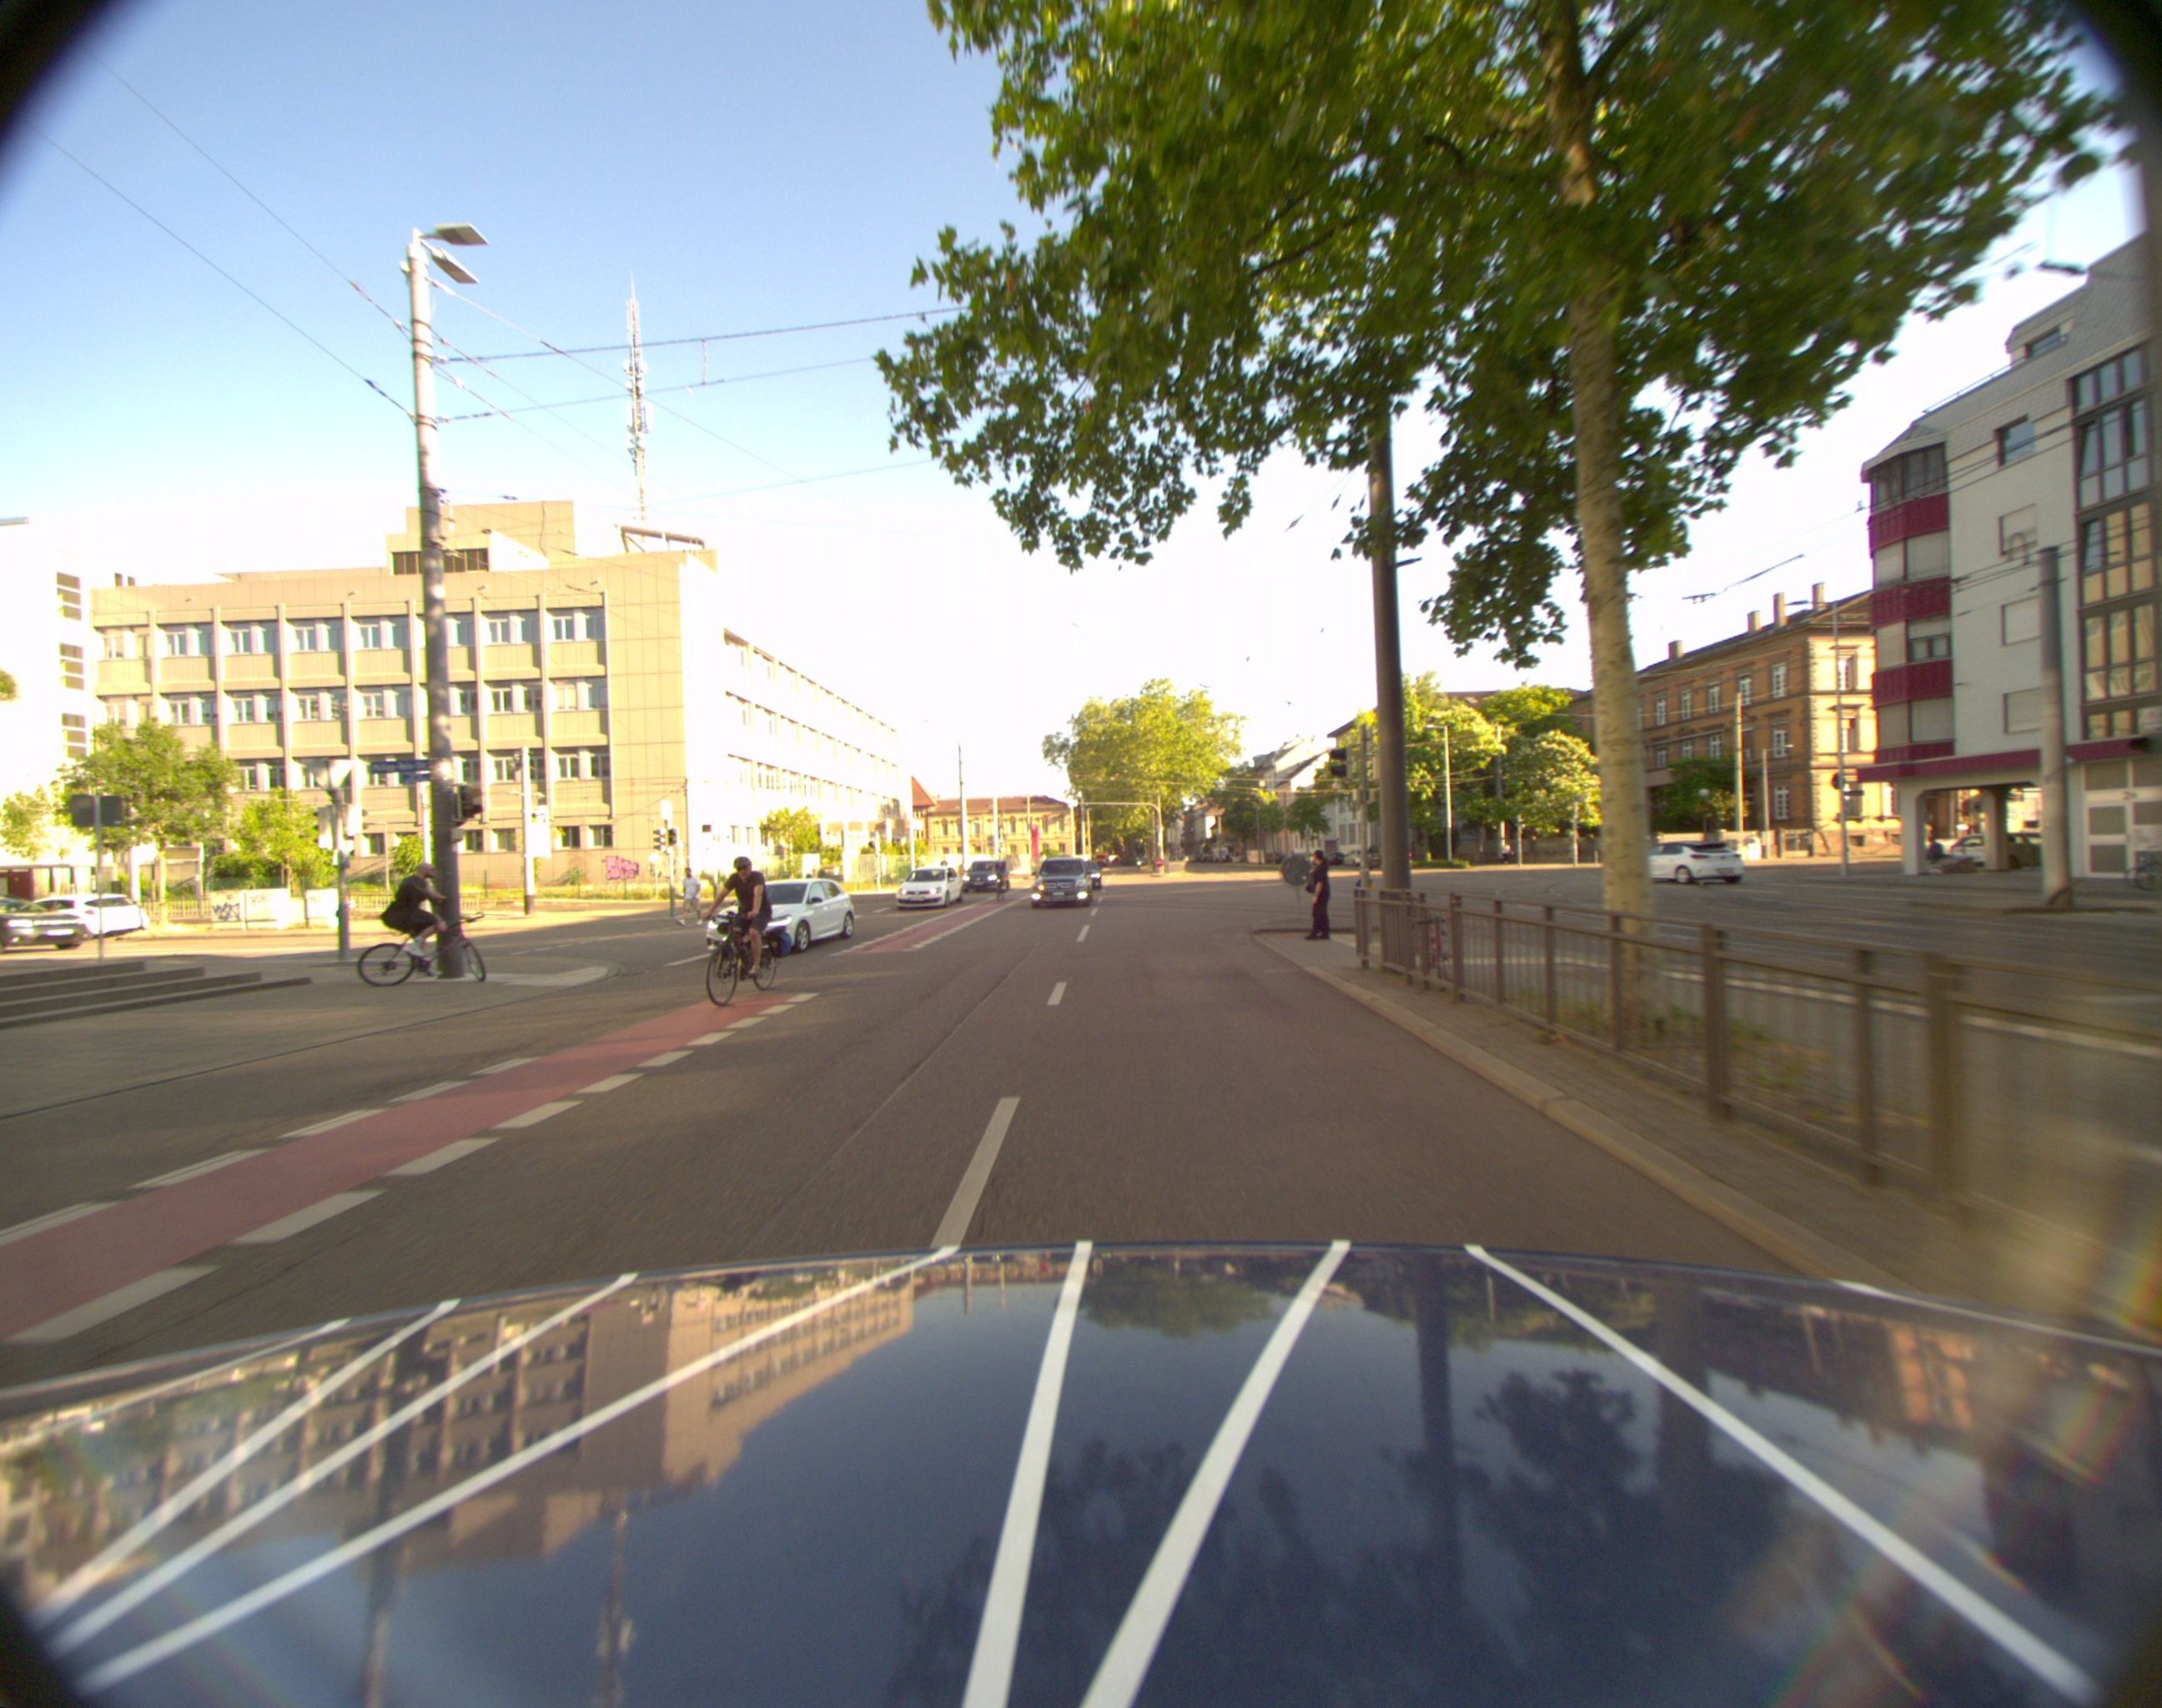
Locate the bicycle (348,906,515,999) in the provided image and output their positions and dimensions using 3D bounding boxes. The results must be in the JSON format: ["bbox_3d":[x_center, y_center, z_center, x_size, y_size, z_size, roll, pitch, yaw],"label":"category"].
[{"bbox_3d":[-9.897,1.461,11.683,1.870,1.273,0.650,1,-1,-34],"label":"bicycle"}]

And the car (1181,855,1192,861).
[{"bbox_3d":[28.007,1.084,202.259,2.087,1.531,4.256,-4,0,-1],"label":"car"}]

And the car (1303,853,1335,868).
[{"bbox_3d":[25.955,0.729,83.094,2.087,1.481,3.997,-4,0,-1],"label":"car"}]

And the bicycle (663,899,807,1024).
[{"bbox_3d":[-4.200,1.256,9.416,0.651,1.273,1.967,-1,0,7],"label":"bicycle"}]

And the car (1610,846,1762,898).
[{"bbox_3d":[20.690,0.587,26.255,1.959,1.585,4.261,-2,0,2],"label":"car"}]

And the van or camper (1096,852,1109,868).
[{"bbox_3d":[3.820,1.000,132.559,1.998,2.578,5.627,-3,0,3],"label":"van or camper"}]

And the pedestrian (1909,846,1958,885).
[{"bbox_3d":[30.779,0.403,27.452,0.859,1.376,0.836,-1,0,-8],"label":"pedestrian"}]

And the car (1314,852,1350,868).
[{"bbox_3d":[25.547,0.619,77.393,2.087,1.493,4.457,-4,0,-1],"label":"car"}]

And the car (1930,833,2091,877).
[{"bbox_3d":[35.556,0.036,29.133,3.999,1.546,1.999,-1,0,-5],"label":"car"}]

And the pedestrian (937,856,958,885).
[{"bbox_3d":[-8.540,1.028,48.598,1.084,1.802,0.735,-2,1,-41],"label":"pedestrian"}]

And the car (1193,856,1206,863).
[{"bbox_3d":[27.644,1.197,177.457,2.087,1.531,5.105,-2,0,-1],"label":"car"}]

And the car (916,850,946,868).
[{"bbox_3d":[-15.671,0.517,79.597,1.998,1.831,4.786,-1,0,2],"label":"car"}]

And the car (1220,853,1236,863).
[{"bbox_3d":[27.324,0.802,141.479,2.087,1.663,4.533,-4,0,-1],"label":"car"}]

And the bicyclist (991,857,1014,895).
[{"bbox_3d":[-3.043,0.835,29.548,0.728,1.413,0.859,-3,0,1],"label":"bicyclist"}]

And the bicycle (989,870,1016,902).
[{"bbox_3d":[-3.020,1.215,29.451,0.764,1.137,2.307,-1,0,1],"label":"bicycle"}]

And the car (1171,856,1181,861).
[{"bbox_3d":[28.470,1.325,227.924,2.087,1.531,4.120,-4,0,-1],"label":"car"}]

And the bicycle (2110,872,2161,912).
[{"bbox_3d":[24.865,0.851,17.340,1.847,0.849,0.553,-2,0,5],"label":"bicycle"}]

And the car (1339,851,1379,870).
[{"bbox_3d":[25.786,0.607,70.608,2.087,1.610,4.098,-4,0,-1],"label":"car"}]

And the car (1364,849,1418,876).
[{"bbox_3d":[20.909,0.568,51.408,1.960,1.663,4.261,-2,0,1],"label":"car"}]

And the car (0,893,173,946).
[{"bbox_3d":[-34.947,2.261,26.569,3.996,1.603,2.000,-1,0,2],"label":"car"}]

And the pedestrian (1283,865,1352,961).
[{"bbox_3d":[3.983,0.974,12.808,1.047,1.535,0.695,-1,0,18],"label":"pedestrian"}]

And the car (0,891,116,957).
[{"bbox_3d":[-30.230,1.952,21.261,3.996,1.685,1.988,-1,-2,2],"label":"car"}]

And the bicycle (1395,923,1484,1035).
[{"bbox_3d":[3.528,1.193,7.562,0.396,0.943,1.352,-1,-2,8],"label":"bicycle"}]

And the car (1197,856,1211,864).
[{"bbox_3d":[26.644,1.291,164.350,2.087,1.531,4.516,-4,0,-1],"label":"car"}]

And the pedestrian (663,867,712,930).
[{"bbox_3d":[-11.797,1.308,22.816,0.779,1.813,1.216,-1,0,1],"label":"pedestrian"}]

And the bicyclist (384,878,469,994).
[{"bbox_3d":[-9.985,1.219,11.622,0.865,1.662,0.650,-2,0,-33],"label":"bicyclist"}]

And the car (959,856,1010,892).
[{"bbox_3d":[-4.868,0.973,38.955,1.793,1.633,4.302,-4,0,3],"label":"car"}]

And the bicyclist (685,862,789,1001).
[{"bbox_3d":[-4.201,0.914,9.348,0.651,1.593,1.089,-1,0,7],"label":"bicyclist"}]

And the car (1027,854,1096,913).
[{"bbox_3d":[-0.539,0.892,25.176,1.908,1.634,4.517,-4,0,2],"label":"car"}]

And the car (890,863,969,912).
[{"bbox_3d":[-5.457,1.163,27.928,1.793,1.493,4.302,-4,0,3],"label":"car"}]

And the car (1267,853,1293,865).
[{"bbox_3d":[26.143,0.657,100.058,2.087,1.461,4.579,-4,0,-1],"label":"car"}]

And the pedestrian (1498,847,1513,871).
[{"bbox_3d":[30.044,0.337,53.755,0.570,1.655,0.630,-4,0,-20],"label":"pedestrian"}]

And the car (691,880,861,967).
[{"bbox_3d":[-6.163,1.344,15.911,1.705,1.381,4.076,-3,0,3],"label":"car"}]

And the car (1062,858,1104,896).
[{"bbox_3d":[0.152,1.119,38.535,1.793,1.694,4.302,-4,0,3],"label":"car"}]
